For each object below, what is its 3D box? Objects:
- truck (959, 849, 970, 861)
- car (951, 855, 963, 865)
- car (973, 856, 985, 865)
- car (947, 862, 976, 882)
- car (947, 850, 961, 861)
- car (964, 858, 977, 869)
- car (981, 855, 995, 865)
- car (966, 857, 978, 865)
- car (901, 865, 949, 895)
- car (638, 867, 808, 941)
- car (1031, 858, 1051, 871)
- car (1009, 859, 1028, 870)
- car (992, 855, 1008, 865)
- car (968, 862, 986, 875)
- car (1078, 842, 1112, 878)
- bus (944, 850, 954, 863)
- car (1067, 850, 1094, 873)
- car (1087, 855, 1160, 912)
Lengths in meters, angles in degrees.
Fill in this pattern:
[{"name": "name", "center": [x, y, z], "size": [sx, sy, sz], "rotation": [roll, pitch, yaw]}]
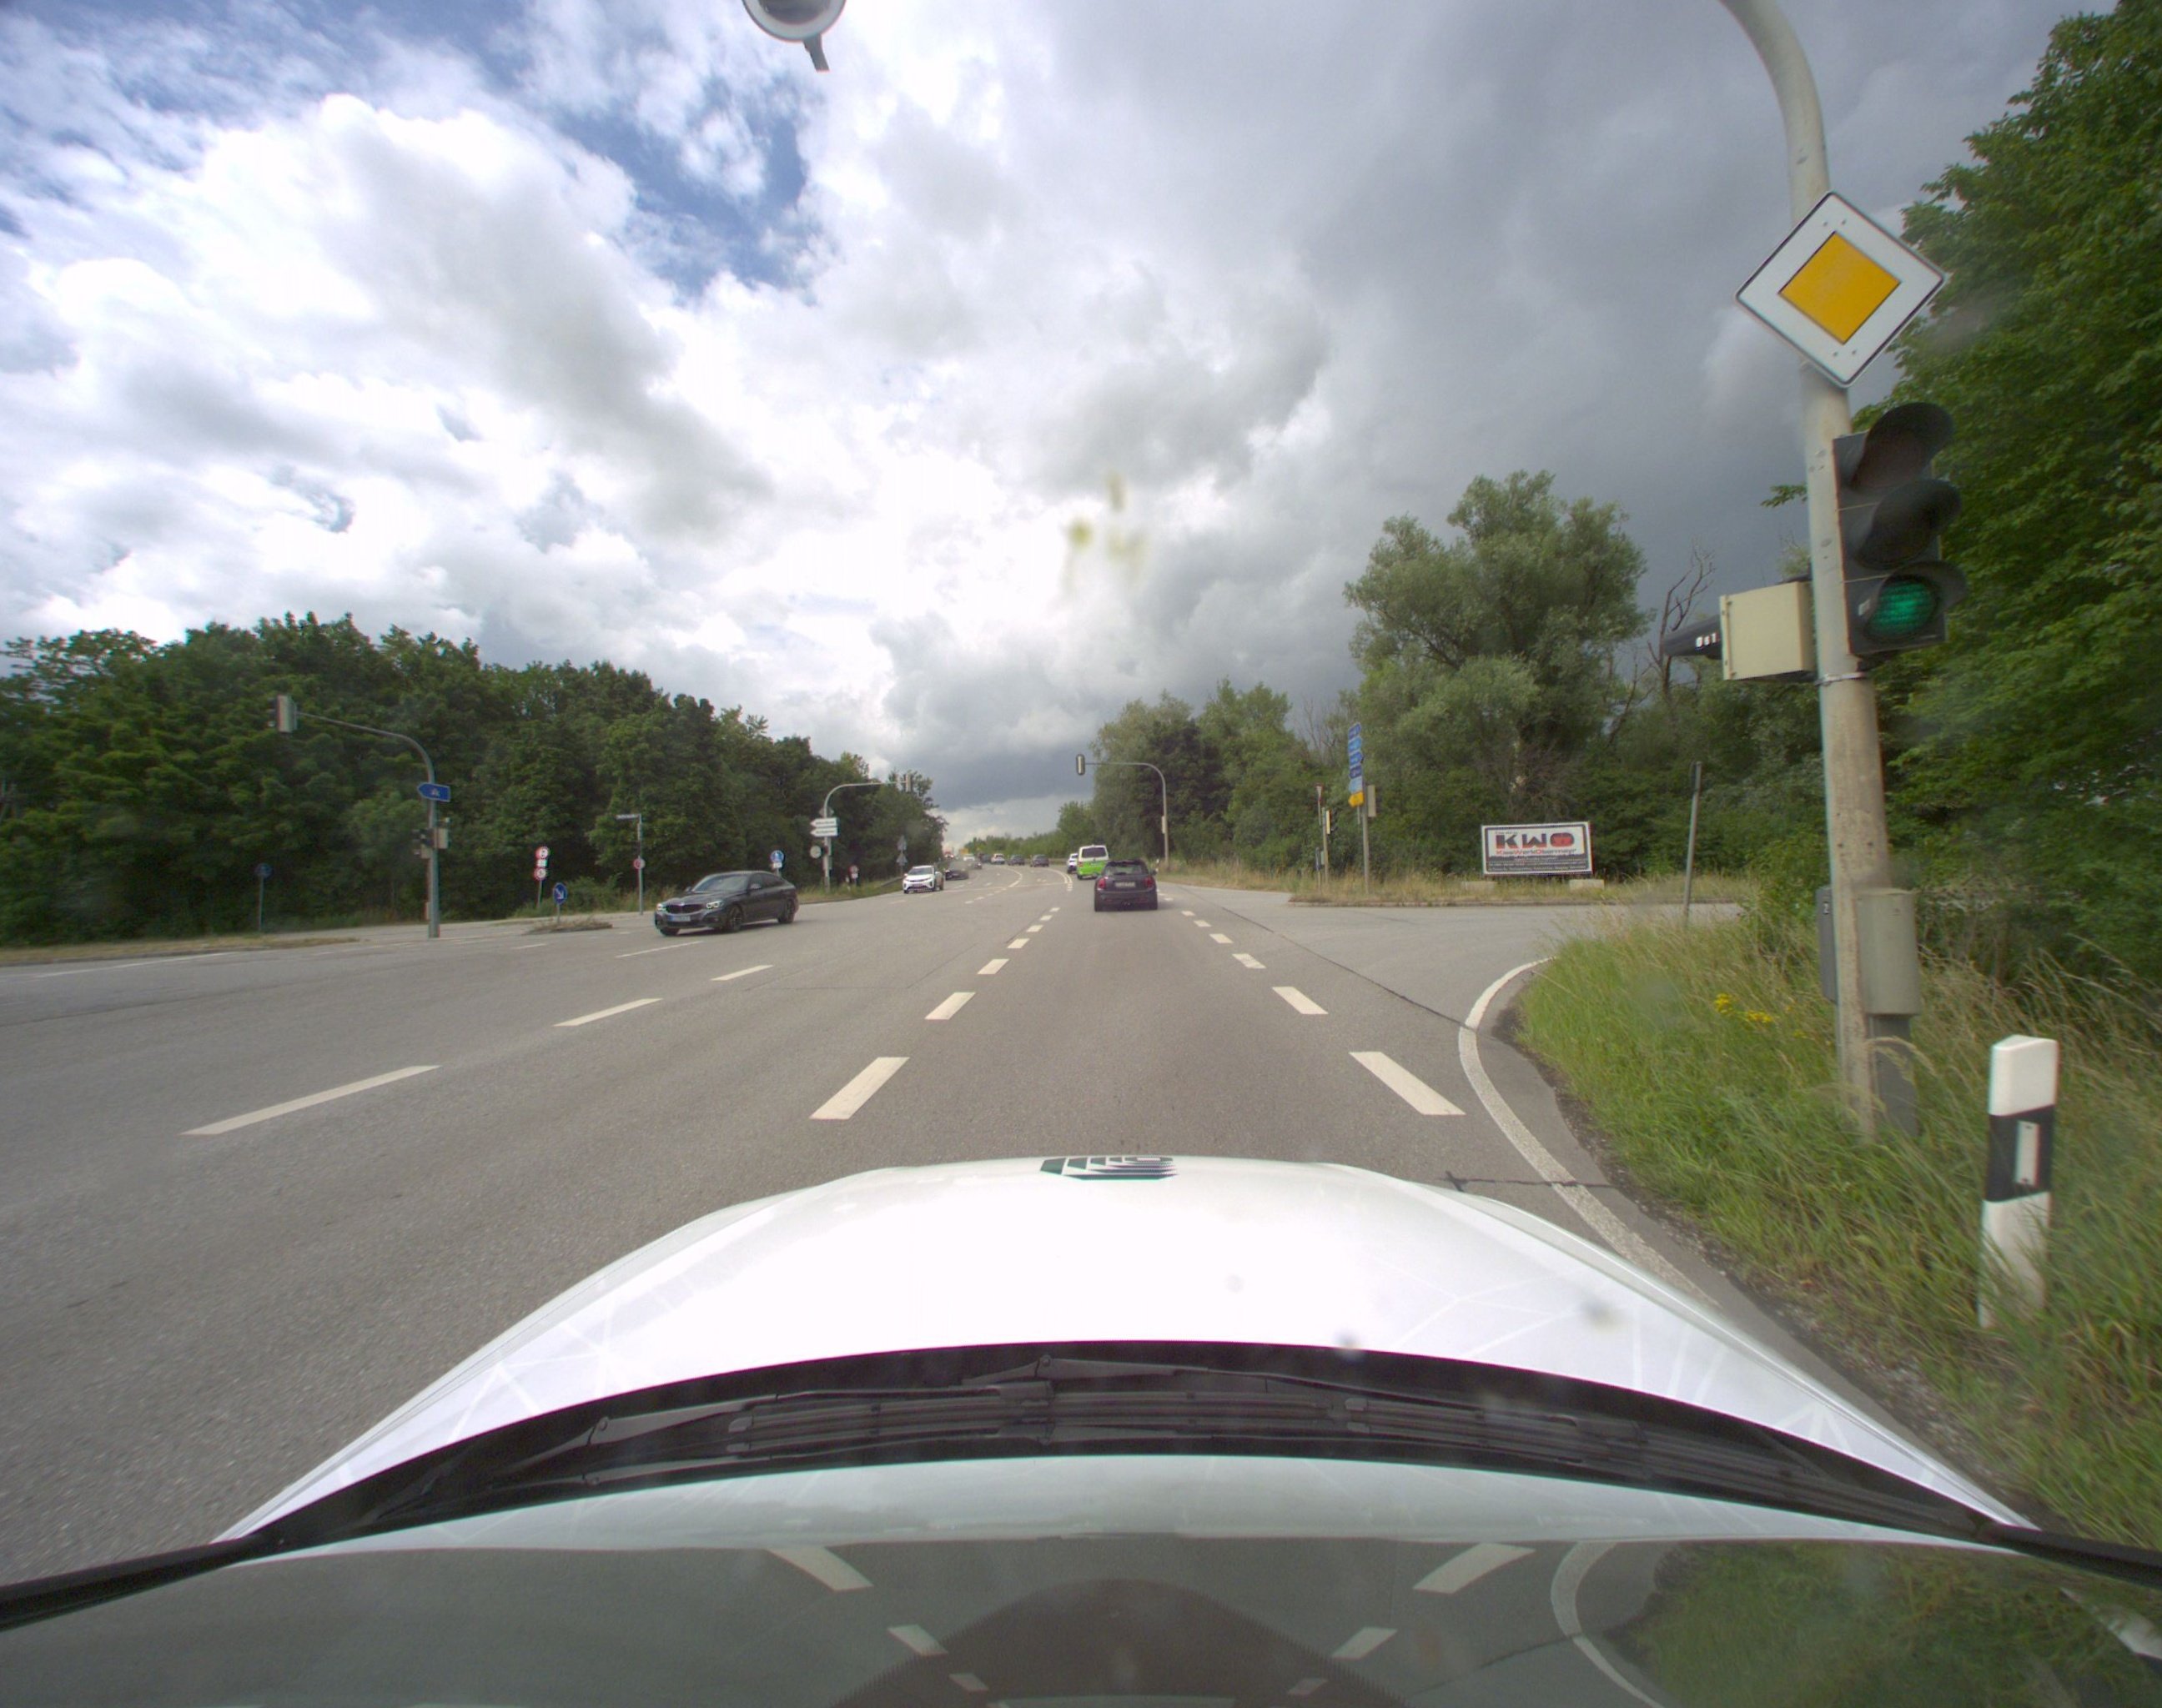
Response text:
[{"name": "truck", "center": [-31.113, 0.256, 217.168], "size": [2.716, 2.898, 8.741], "rotation": [-1, -3, -9]}, {"name": "car", "center": [-25.263, 1.206, 165.853], "size": [1.995, 2.014, 3.983], "rotation": [-1, 0, -12]}, {"name": "car", "center": [-20.283, 1.337, 161.706], "size": [1.996, 1.696, 4.465], "rotation": [-1, -1, -13]}, {"name": "car", "center": [-10.273, 1.524, 70.087], "size": [1.757, 1.583, 4.202], "rotation": [-5, 0, 0]}, {"name": "car", "center": [-20.248, 0.248, 129.855], "size": [1.994, 1.690, 3.985], "rotation": [-2, 0, -11]}, {"name": "car", "center": [-18.719, 1.616, 138.005], "size": [1.992, 1.613, 3.990], "rotation": [-2, 0, -7]}, {"name": "car", "center": [-16.850, 1.172, 146.699], "size": [1.996, 1.696, 4.465], "rotation": [-1, -1, -13]}, {"name": "car", "center": [-24.149, 1.638, 180.412], "size": [1.997, 1.696, 4.462], "rotation": [-1, -1, -15]}, {"name": "car", "center": [-8.798, 1.425, 46.254], "size": [1.723, 1.505, 4.348], "rotation": [-2, 0, 2]}, {"name": "car", "center": [-8.860, 1.166, 20.729], "size": [1.780, 1.530, 4.909], "rotation": [-3, -1, 4]}, {"name": "car", "center": [-4.812, 1.286, 97.155], "size": [1.993, 1.476, 4.471], "rotation": [-1, -1, -9]}, {"name": "car", "center": [-8.801, 1.428, 114.190], "size": [1.995, 1.476, 4.466], "rotation": [-1, -1, -12]}, {"name": "car", "center": [-12.903, 0.930, 129.152], "size": [1.996, 1.476, 4.464], "rotation": [-1, -1, -13]}, {"name": "car", "center": [-13.003, 1.805, 101.907], "size": [1.733, 1.405, 4.248], "rotation": [-7, 0, -2]}, {"name": "car", "center": [0.805, 0.314, 48.444], "size": [1.839, 1.986, 3.841], "rotation": [-2, 2, 0]}, {"name": "bus", "center": [-35.982, 0.677, 222.114], "size": [1.996, 3.302, 7.395], "rotation": [-2, 0, -13]}, {"name": "car", "center": [-0.049, 0.588, 63.090], "size": [1.988, 1.684, 3.998], "rotation": [-2, -1, -1]}, {"name": "car", "center": [1.148, 0.811, 23.572], "size": [1.839, 1.428, 3.840], "rotation": [-2, -1, 0]}]
